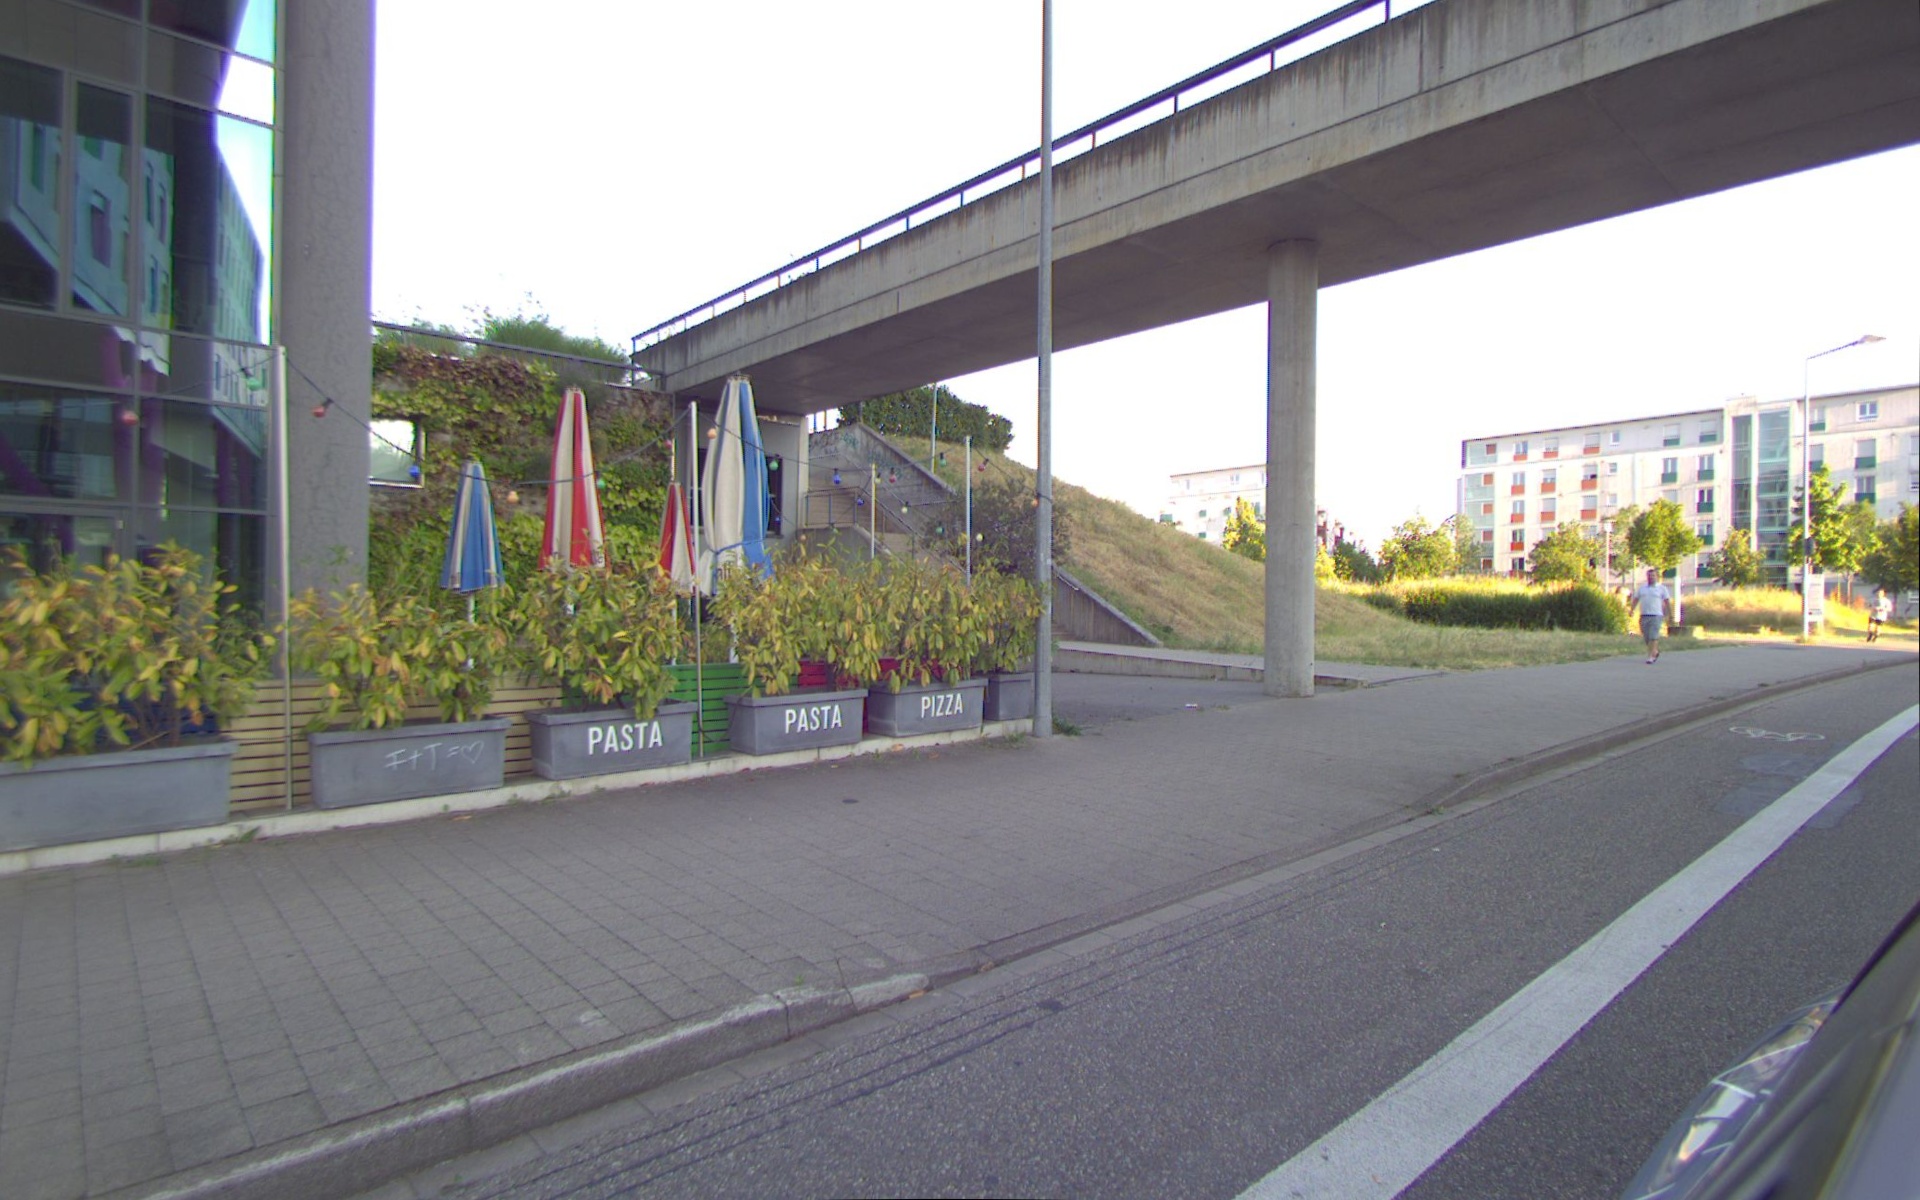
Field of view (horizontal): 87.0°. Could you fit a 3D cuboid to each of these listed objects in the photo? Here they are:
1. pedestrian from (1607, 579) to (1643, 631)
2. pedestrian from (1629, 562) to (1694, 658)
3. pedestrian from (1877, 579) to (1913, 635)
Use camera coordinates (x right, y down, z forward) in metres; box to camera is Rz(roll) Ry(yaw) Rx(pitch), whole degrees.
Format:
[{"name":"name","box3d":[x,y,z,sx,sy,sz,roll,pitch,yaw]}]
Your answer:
[{"name":"pedestrian","box3d":[21.986,0.154,33.452,0.844,1.650,0.737,1,2,-40]},{"name":"pedestrian","box3d":[13.164,0.177,18.986,0.890,1.745,0.737,1,2,-40]},{"name":"pedestrian","box3d":[30.146,0.213,32.635,0.523,1.745,0.737,1,2,-40]}]
